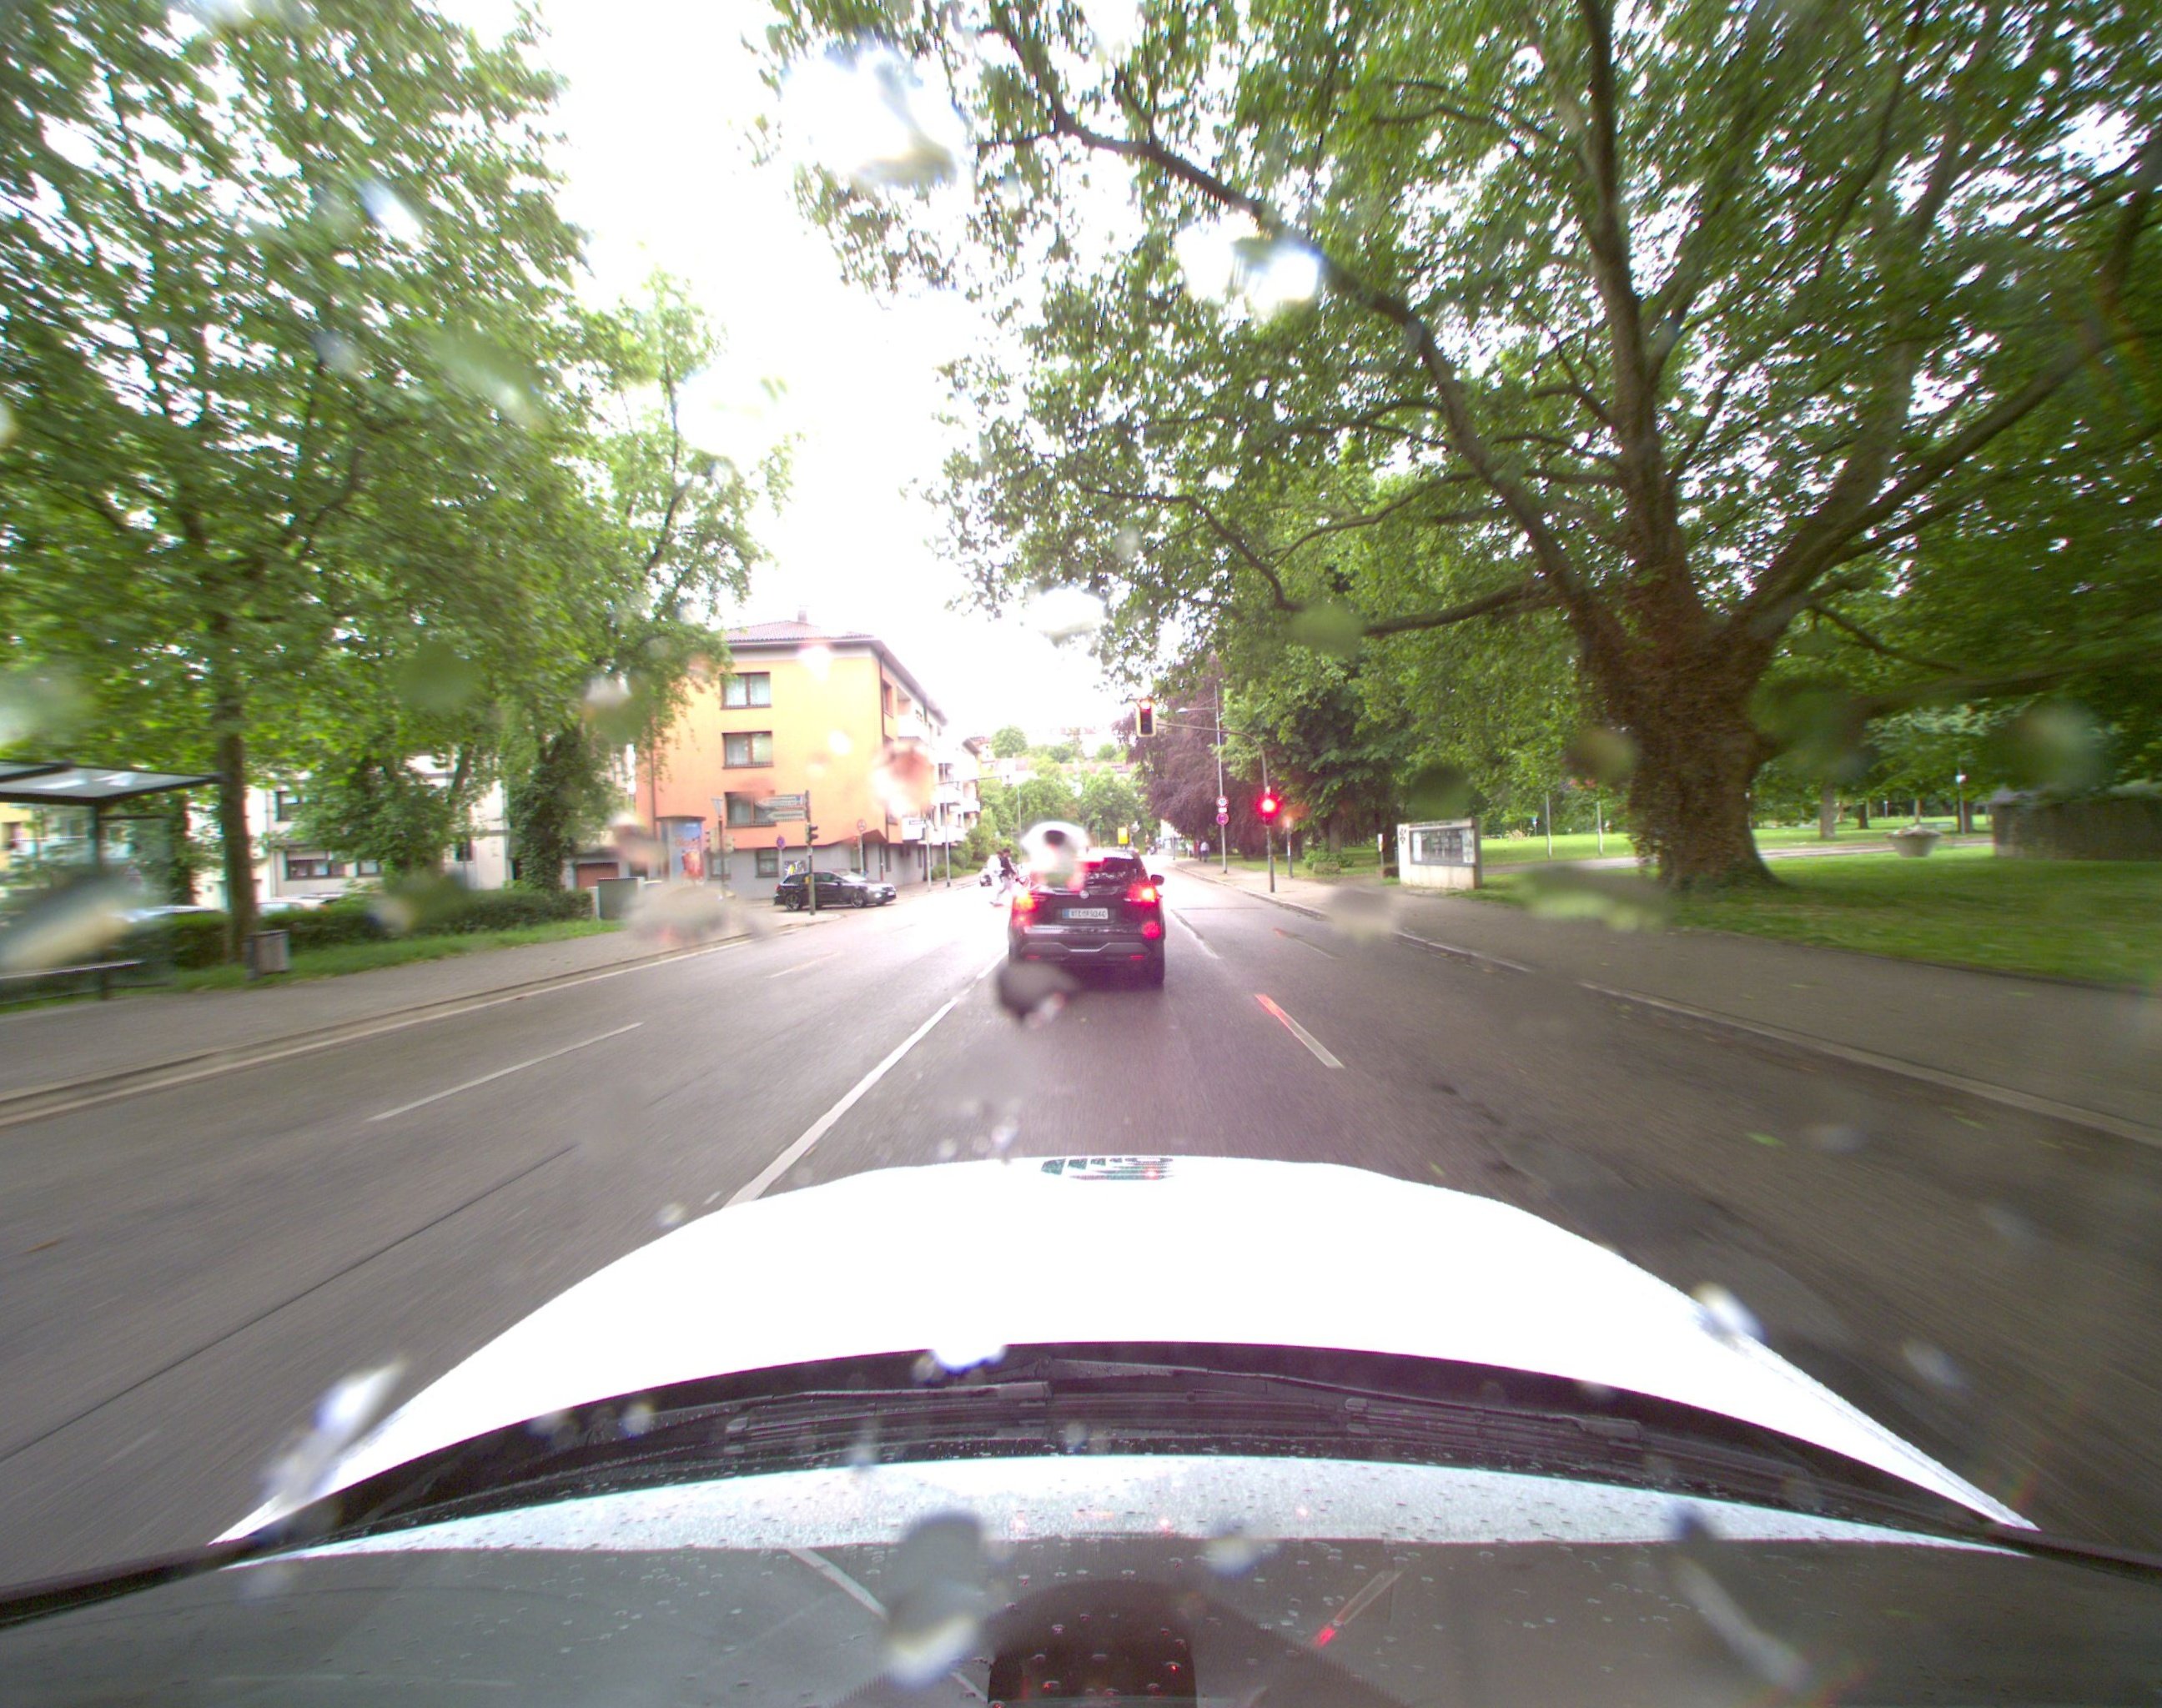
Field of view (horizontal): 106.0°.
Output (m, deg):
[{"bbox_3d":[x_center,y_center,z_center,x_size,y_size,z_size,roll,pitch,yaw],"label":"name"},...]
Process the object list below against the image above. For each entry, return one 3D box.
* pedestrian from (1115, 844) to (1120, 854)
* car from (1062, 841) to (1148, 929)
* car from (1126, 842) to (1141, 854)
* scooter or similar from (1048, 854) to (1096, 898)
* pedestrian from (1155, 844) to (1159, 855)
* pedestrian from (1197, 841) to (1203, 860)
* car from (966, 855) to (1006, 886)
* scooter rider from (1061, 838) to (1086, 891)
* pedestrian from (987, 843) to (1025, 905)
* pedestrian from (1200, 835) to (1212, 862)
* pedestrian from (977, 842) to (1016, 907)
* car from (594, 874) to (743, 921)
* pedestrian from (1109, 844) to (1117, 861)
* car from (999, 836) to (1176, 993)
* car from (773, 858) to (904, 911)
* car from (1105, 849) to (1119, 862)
[{"bbox_3d":[6.192,-0.852,139.175,0.503,1.673,0.663,-3,0,30],"label":"pedestrian"},{"bbox_3d":[0.557,0.630,18.708,1.692,1.745,3.642,-3,0,2],"label":"car"},{"bbox_3d":[7.760,-0.841,119.098,1.983,1.735,4.008,0,0,7],"label":"car"},{"bbox_3d":[-0.301,0.739,27.804,1.384,1.446,0.820,-3,-1,14],"label":"scooter or similar"},{"bbox_3d":[12.479,-0.791,133.141,0.507,1.802,0.619,-3,0,1],"label":"pedestrian"},{"bbox_3d":[9.835,-0.293,67.450,0.388,1.502,0.559,-3,0,2],"label":"pedestrian"},{"bbox_3d":[-5.191,0.868,45.071,1.791,1.533,3.865,-3,0,-2],"label":"car"},{"bbox_3d":[-0.240,0.346,27.781,0.639,1.766,0.738,-2,-1,13],"label":"scooter rider"},{"bbox_3d":[-2.357,0.613,25.449,1.035,1.876,0.656,-3,0,-9],"label":"pedestrian"},{"bbox_3d":[9.642,-0.419,63.012,0.722,2.013,0.852,-3,0,2],"label":"pedestrian"},{"bbox_3d":[-2.562,0.611,24.702,1.035,1.876,0.656,-3,0,-9],"label":"pedestrian"},{"bbox_3d":[-15.436,1.604,30.641,4.616,1.403,1.833,-3,0,3],"label":"car"},{"bbox_3d":[3.518,-0.152,88.369,0.512,1.802,0.613,-3,0,-34],"label":"pedestrian"},{"bbox_3d":[0.142,0.645,10.853,1.906,1.680,4.002,-1,0,2],"label":"car"},{"bbox_3d":[-8.807,1.091,29.724,4.098,1.625,1.857,-3,0,10],"label":"car"},{"bbox_3d":[3.942,0.209,102.853,1.628,1.532,3.969,-3,0,2],"label":"car"}]
